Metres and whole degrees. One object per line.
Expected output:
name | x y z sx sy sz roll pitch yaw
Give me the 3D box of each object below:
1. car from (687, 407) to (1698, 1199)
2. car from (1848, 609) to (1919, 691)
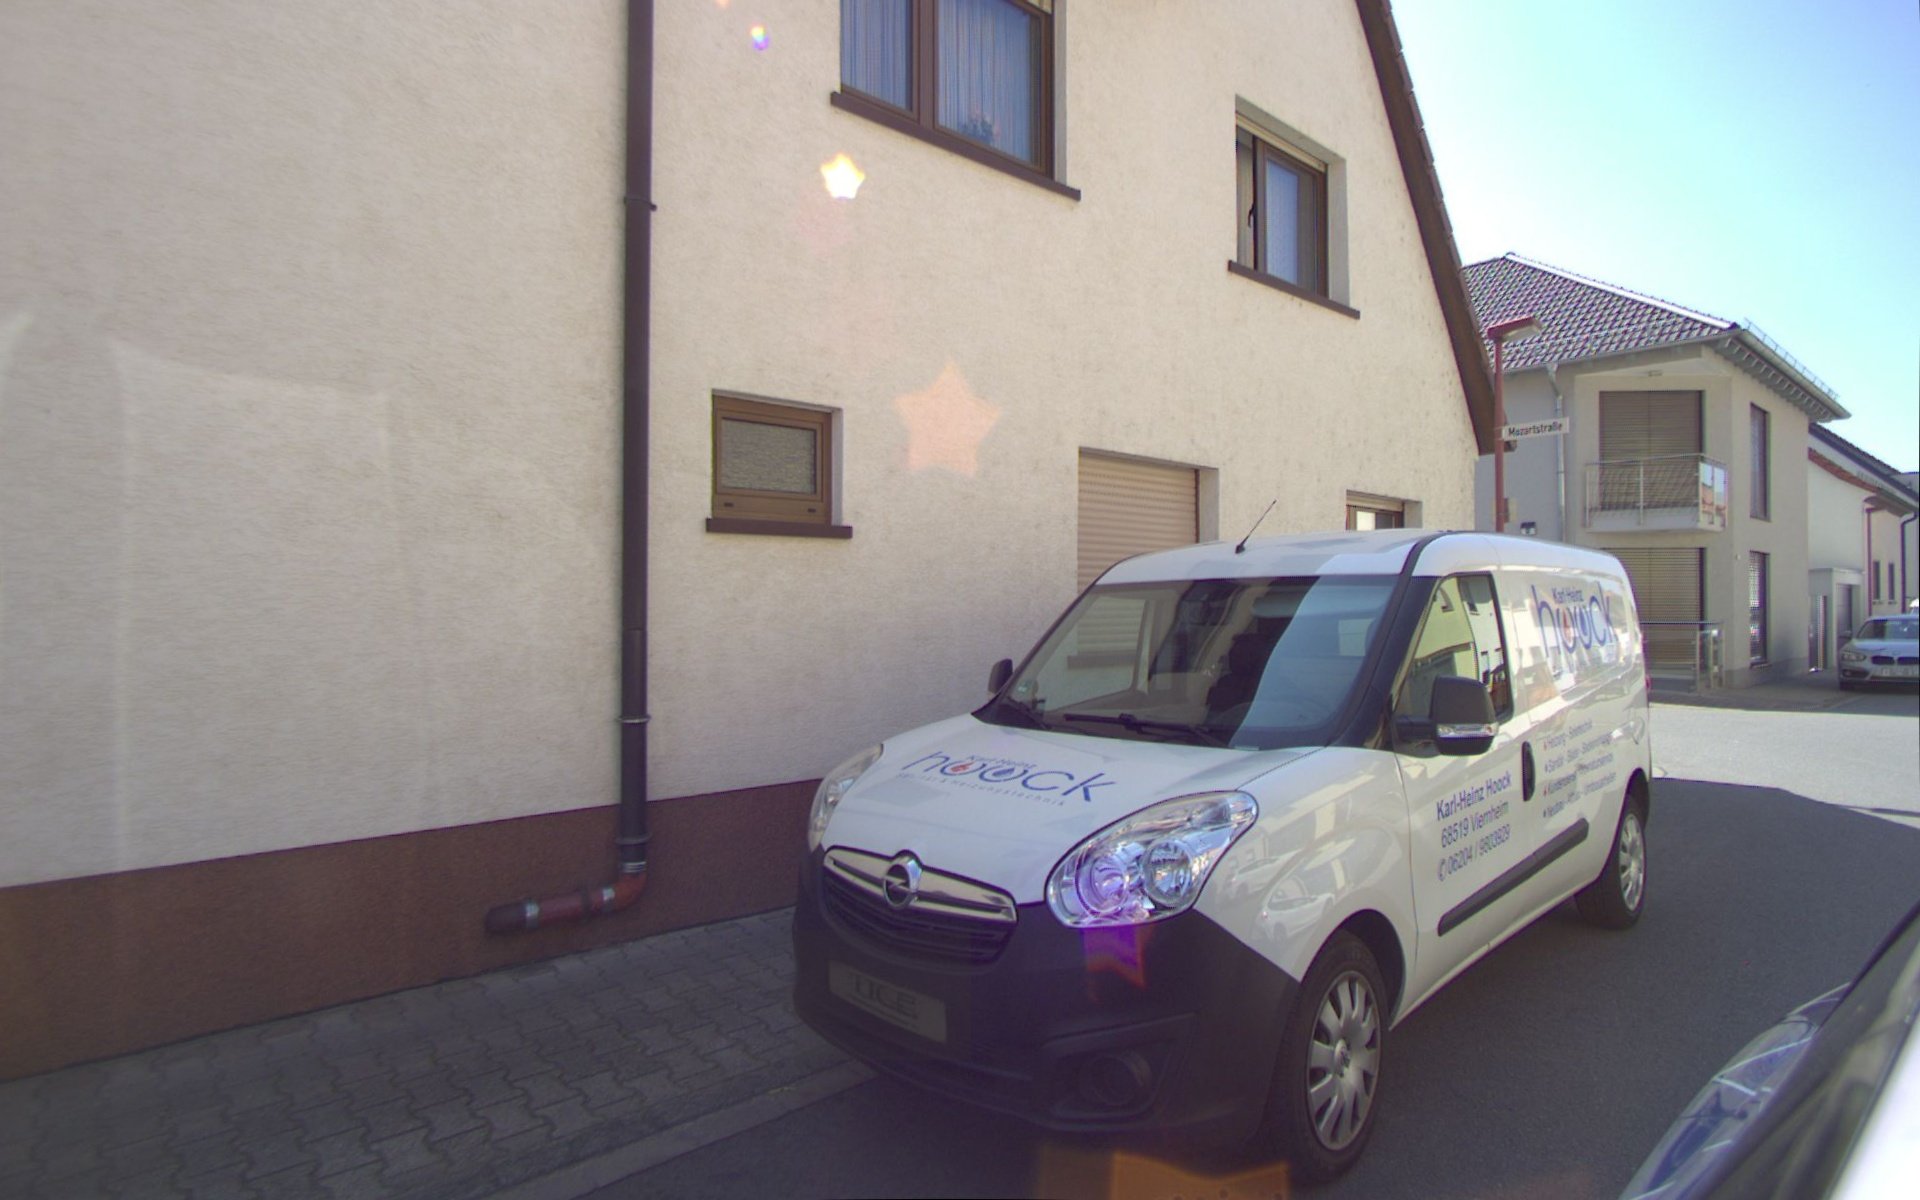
car | 1.461 0.558 4.280 4.770 1.848 1.811 0 -2 -44
car | 18.179 0.886 19.080 3.860 1.386 1.636 0 -1 -41
